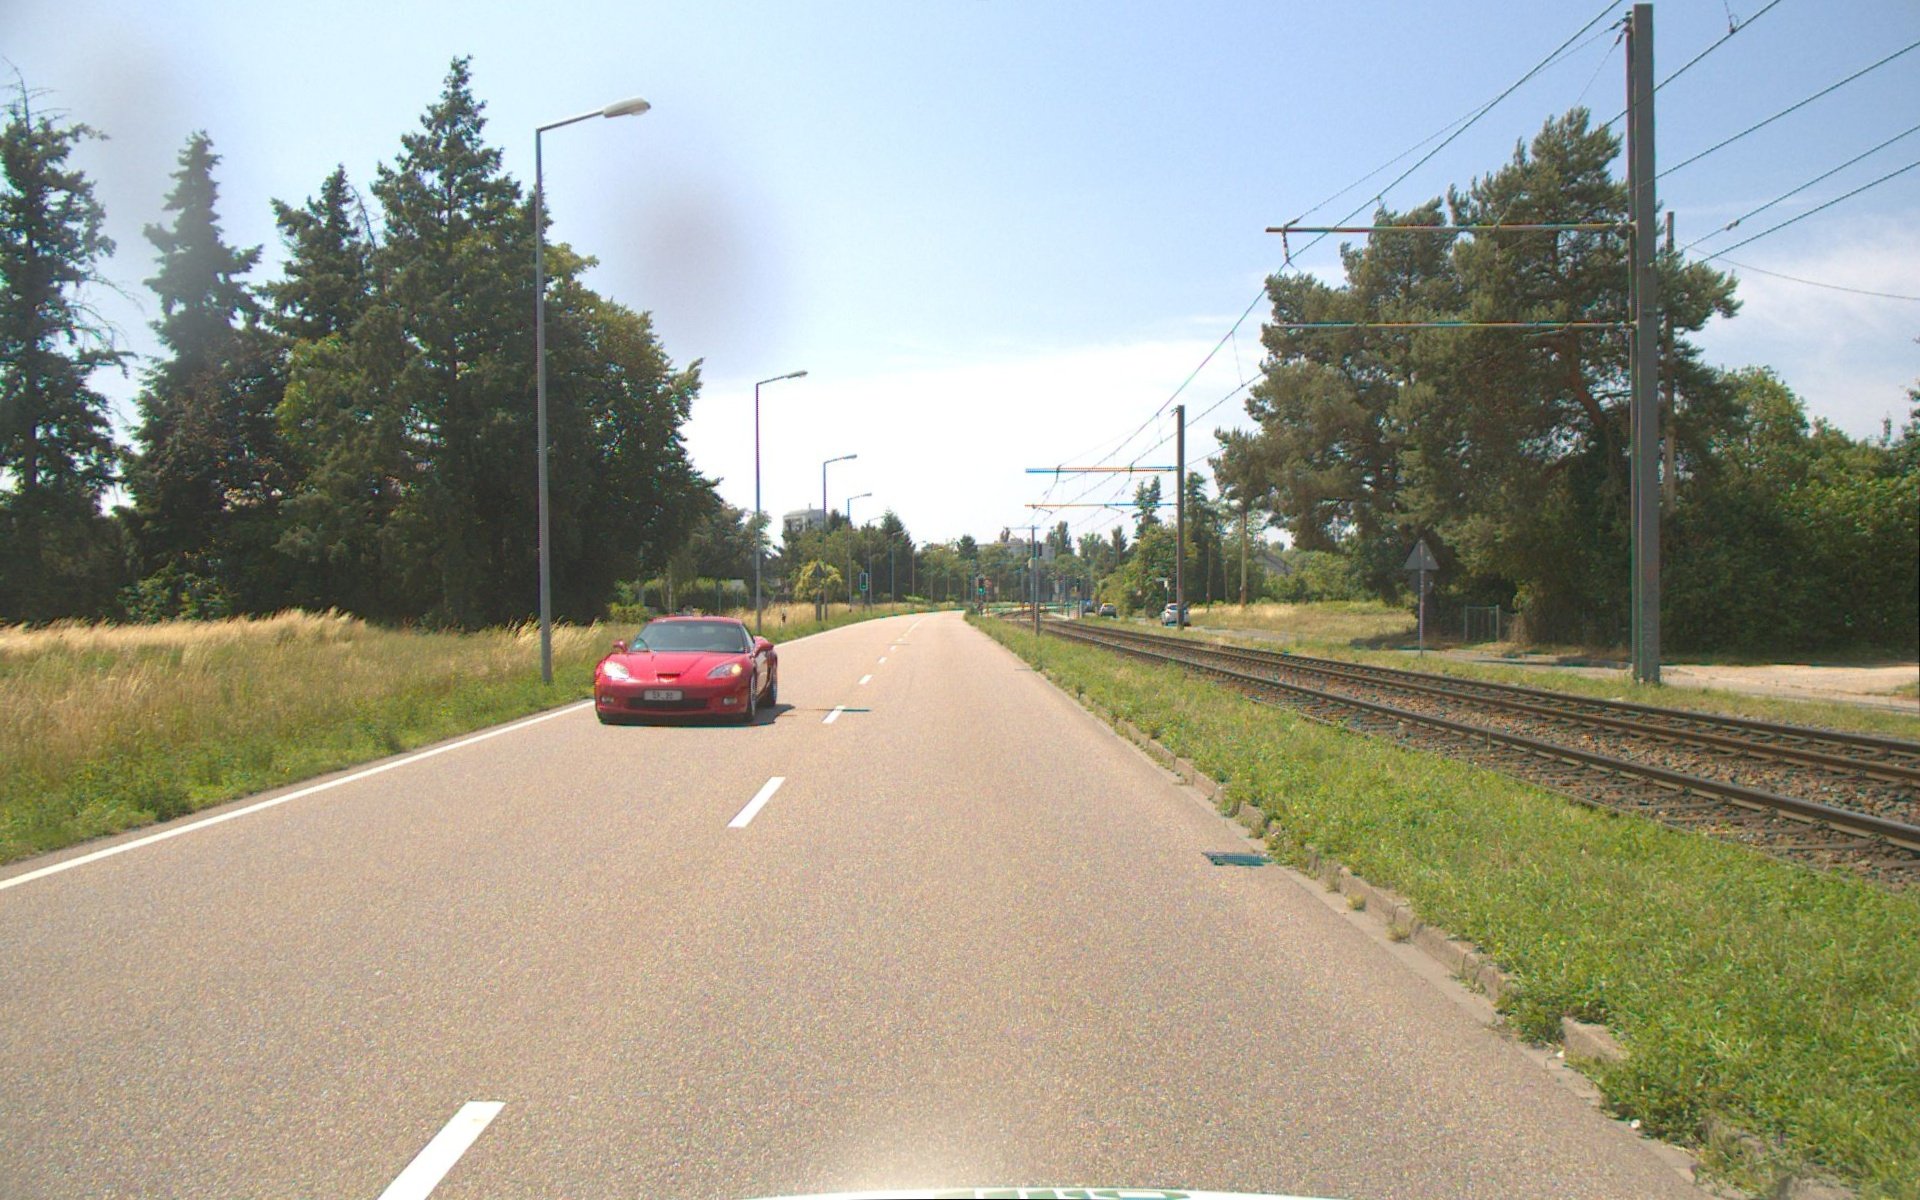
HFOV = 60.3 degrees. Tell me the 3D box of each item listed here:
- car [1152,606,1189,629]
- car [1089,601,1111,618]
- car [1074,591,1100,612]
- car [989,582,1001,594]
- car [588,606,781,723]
[{"bbox_3d":[14.458,1.225,113.957,1.953,1.534,3.999,-1,-1,-1],"label":"car"},{"bbox_3d":[14.328,0.969,169.830,1.876,1.691,3.999,-1,-1,-1],"label":"car"},{"bbox_3d":[10.107,0.113,131.433,1.709,1.587,3.999,-1,-1,-1],"label":"car"},{"bbox_3d":[4.692,-1.634,224.305,1.520,1.613,3.568,-1,-1,-1],"label":"car"},{"bbox_3d":[-3.374,0.763,21.001,1.771,1.308,4.285,-1,-1,-1],"label":"car"}]
